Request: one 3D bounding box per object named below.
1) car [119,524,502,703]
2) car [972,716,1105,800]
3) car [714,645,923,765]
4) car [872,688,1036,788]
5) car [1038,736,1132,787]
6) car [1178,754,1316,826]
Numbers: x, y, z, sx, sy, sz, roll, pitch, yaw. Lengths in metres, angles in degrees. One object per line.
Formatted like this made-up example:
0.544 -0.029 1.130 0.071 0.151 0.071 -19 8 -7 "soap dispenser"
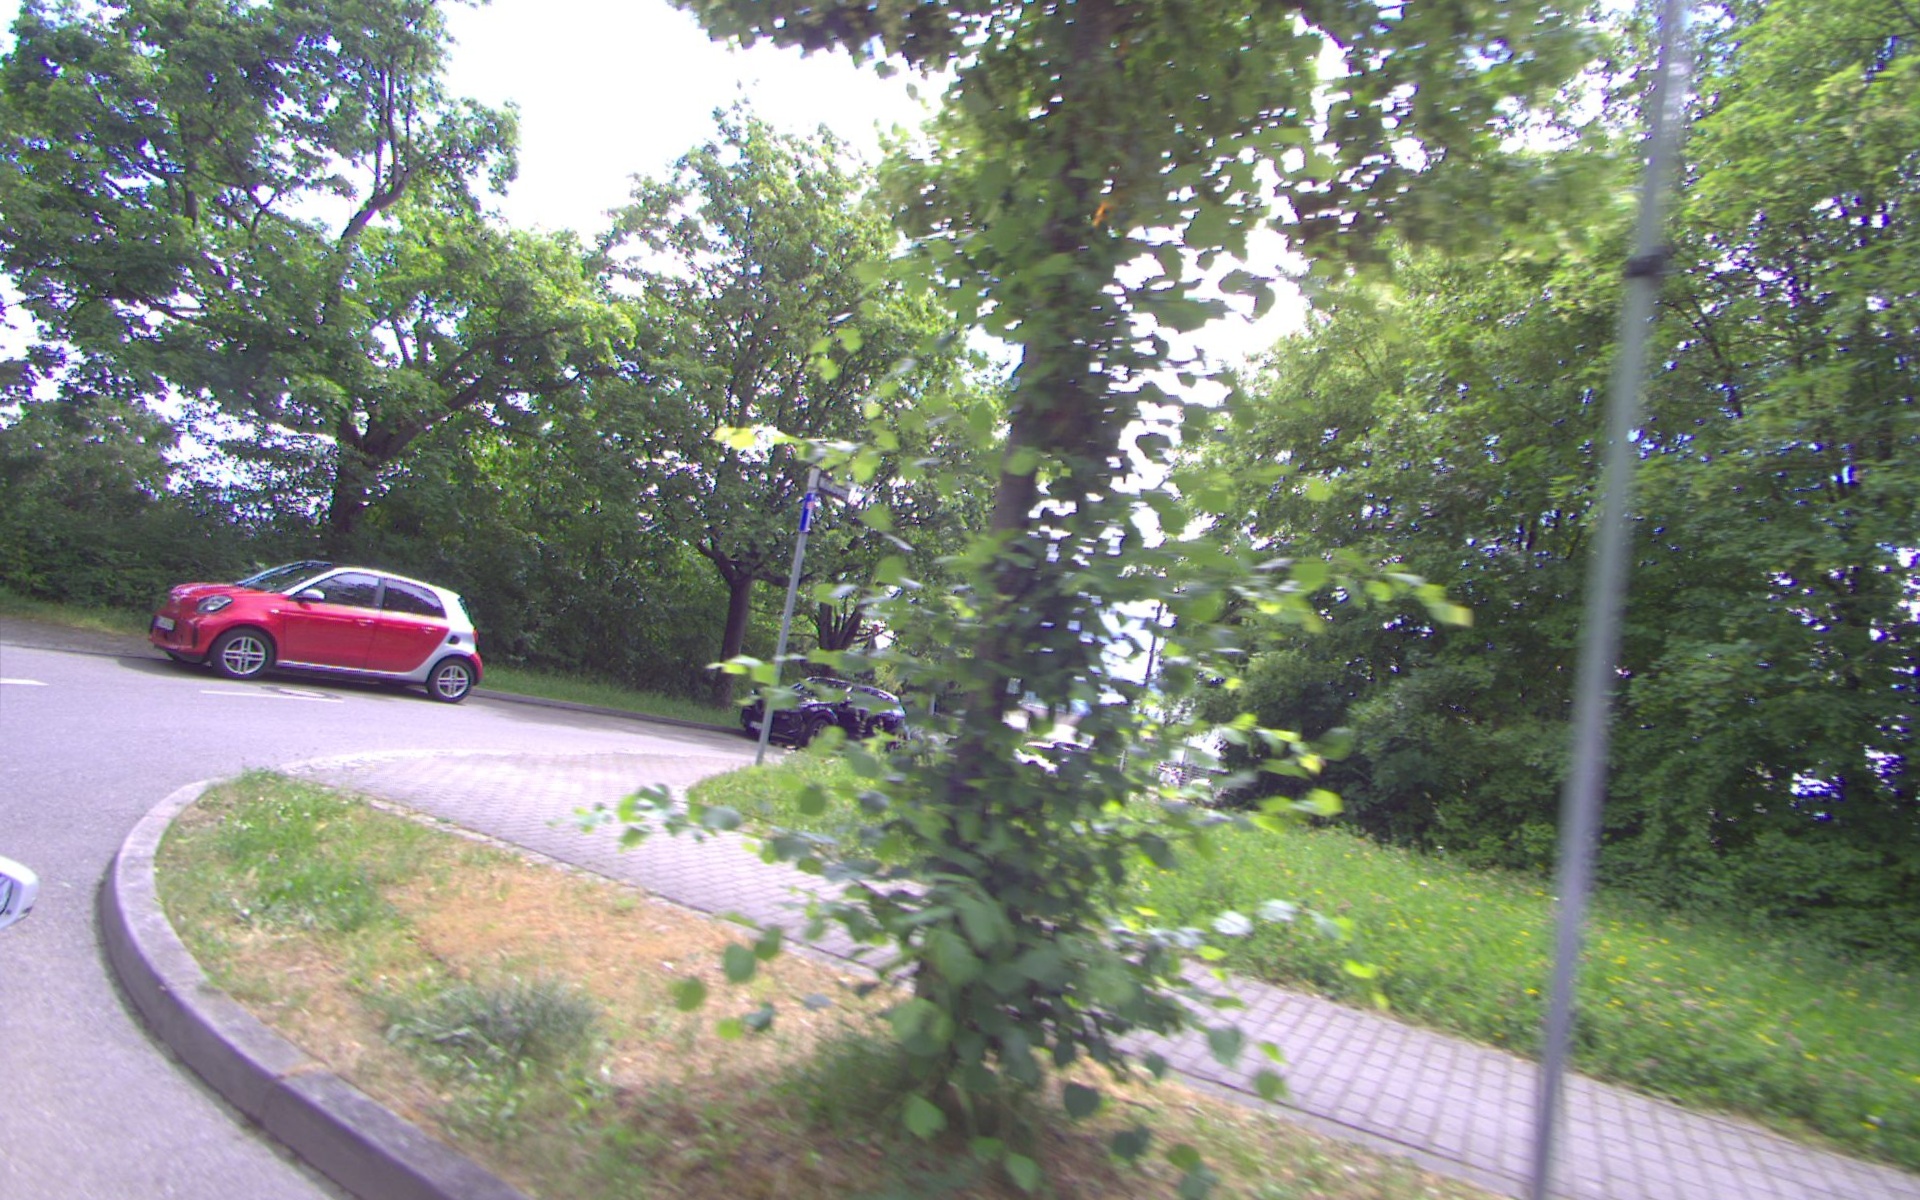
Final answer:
-8.114 0.245 12.840 1.754 1.495 3.547 8 -6 36 "car"
2.324 4.557 28.692 1.968 1.608 4.009 7 -9 33 "car"
-2.803 2.234 20.806 1.968 1.608 4.009 7 -9 33 "car"
-0.053 3.421 24.518 1.968 1.608 4.009 7 -9 33 "car"
5.431 7.014 43.780 3.546 1.613 1.739 4 -7 33 "car"
11.211 7.418 39.376 4.623 1.750 2.001 6 -8 36 "car"
